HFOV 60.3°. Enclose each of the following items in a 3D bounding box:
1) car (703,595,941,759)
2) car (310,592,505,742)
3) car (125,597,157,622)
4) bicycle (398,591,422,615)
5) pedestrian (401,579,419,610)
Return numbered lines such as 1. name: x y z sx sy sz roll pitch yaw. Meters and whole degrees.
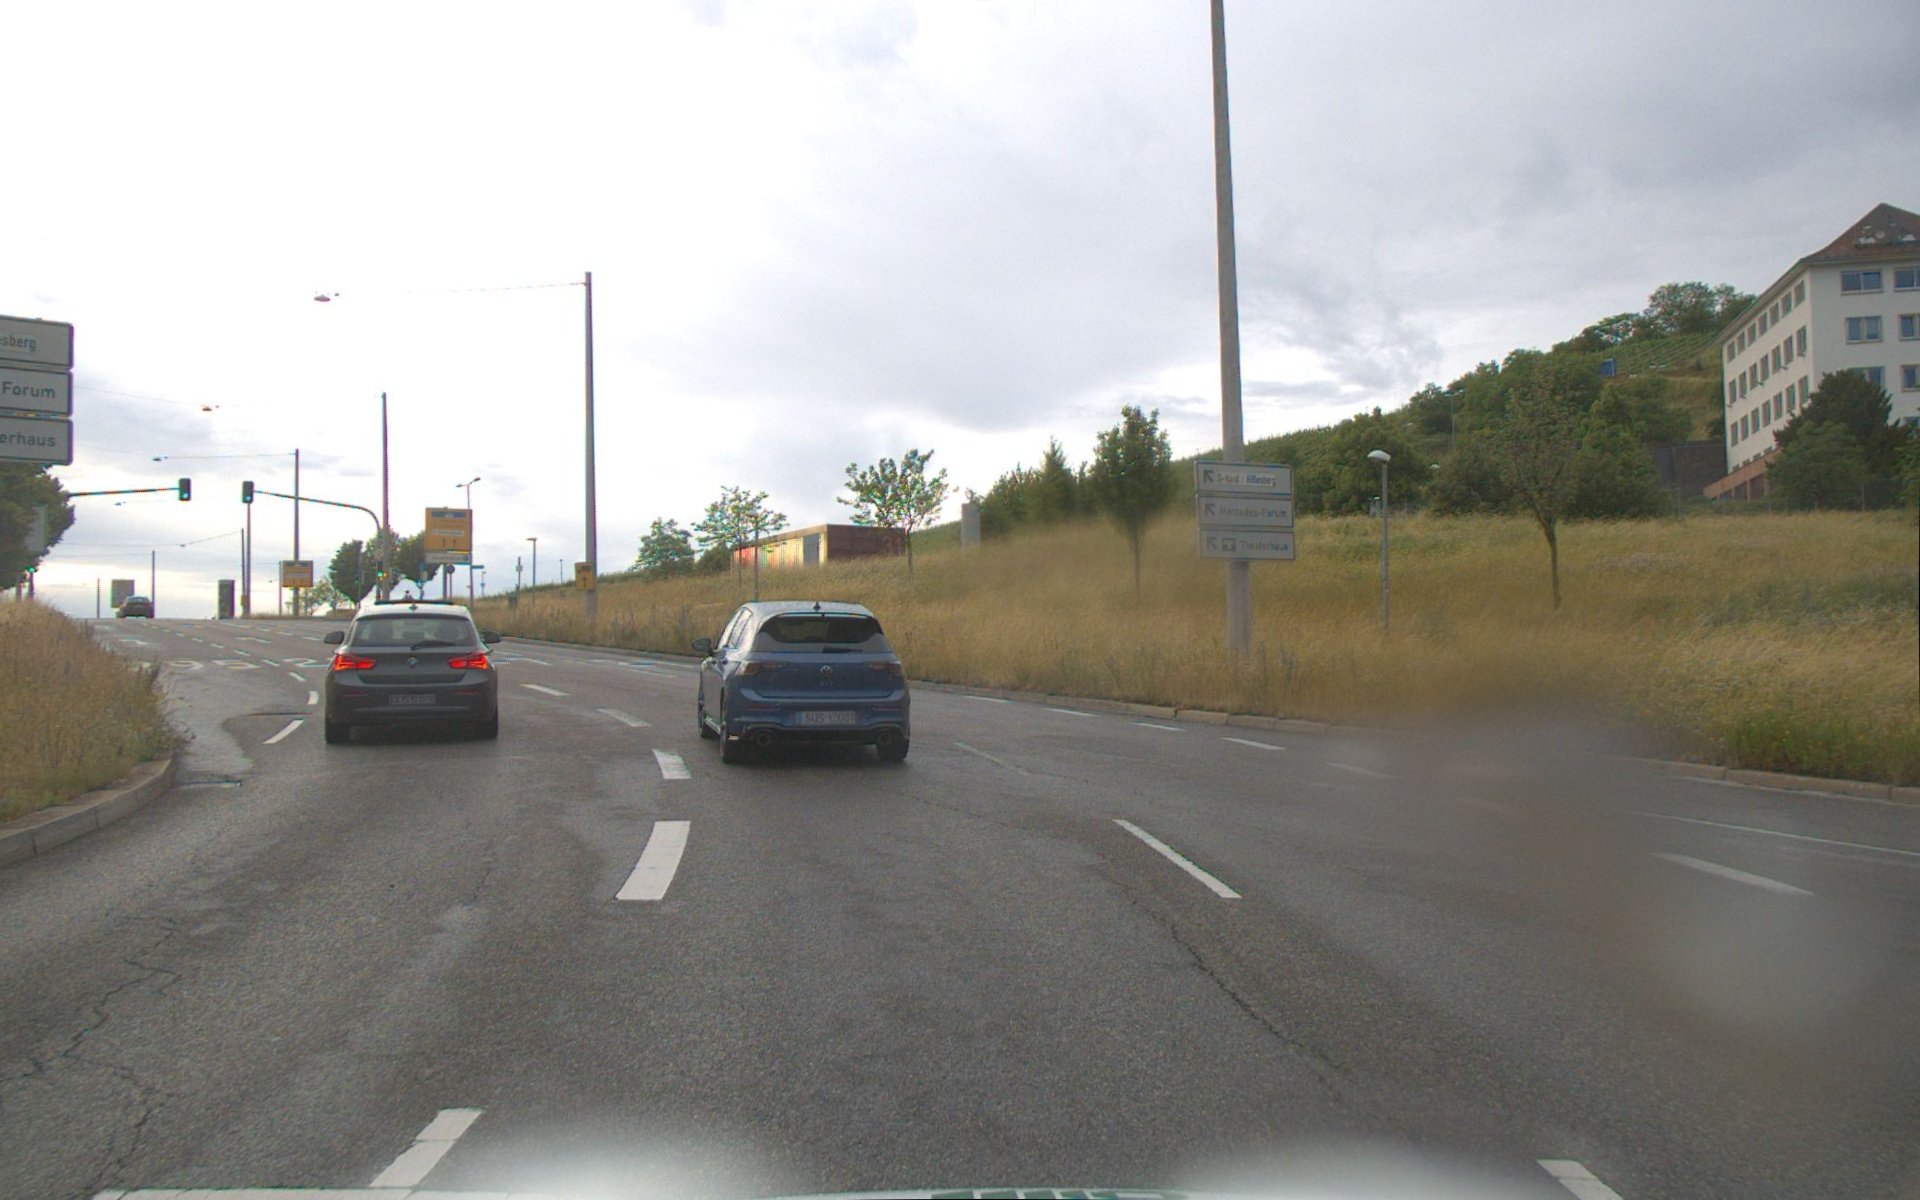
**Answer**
1. car: -1.495 0.674 16.437 1.806 1.418 3.986 0 0 -13
2. car: -6.088 0.689 18.606 1.838 1.487 3.959 1 -1 -15
3. car: -53.190 0.625 107.411 1.702 1.568 3.669 3 -2 -28
4. bicycle: -29.858 0.157 89.822 0.629 1.123 1.730 -4 8 -39
5. pedestrian: -29.873 -0.308 89.807 0.629 1.597 0.883 -4 6 -39
